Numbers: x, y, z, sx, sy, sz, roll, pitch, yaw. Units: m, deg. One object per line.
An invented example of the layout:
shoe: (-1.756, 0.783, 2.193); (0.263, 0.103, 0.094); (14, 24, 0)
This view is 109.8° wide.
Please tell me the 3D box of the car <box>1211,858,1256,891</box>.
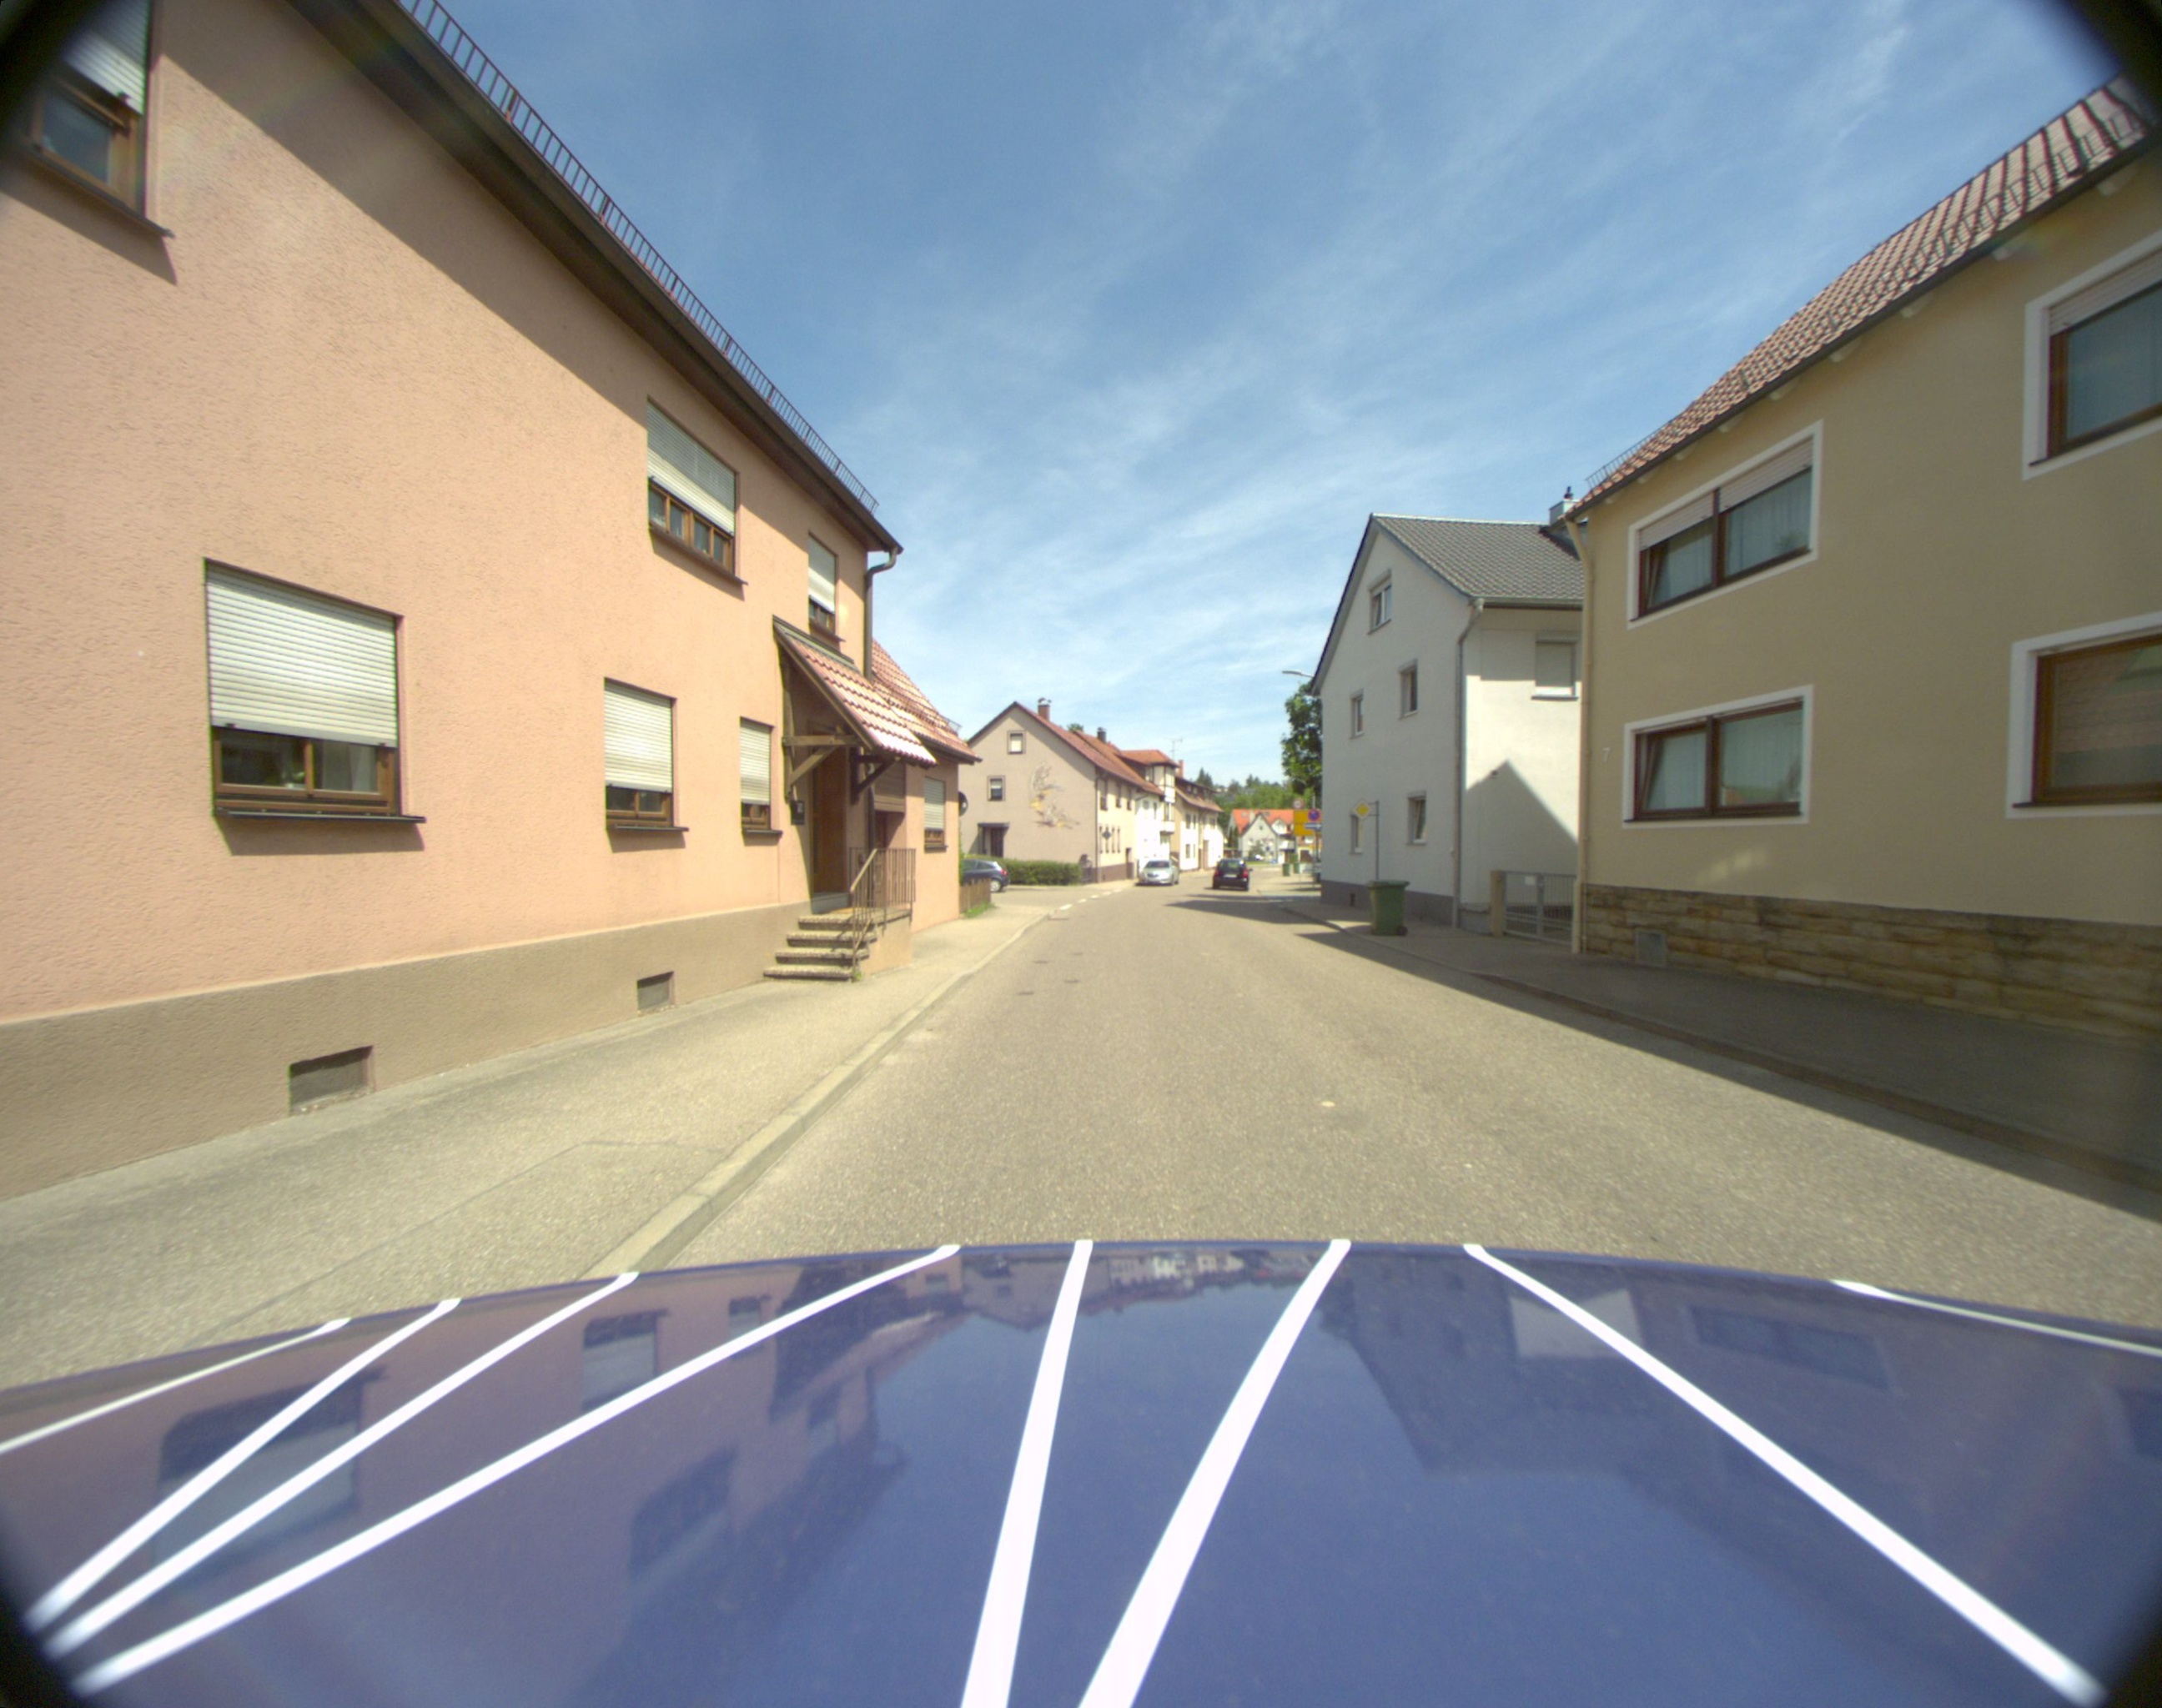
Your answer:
car: (7.715, 0.991, 38.257); (1.801, 1.546, 4.076); (1, 0, 17)

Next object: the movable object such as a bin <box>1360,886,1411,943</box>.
movable object such as a bin: (5.898, 1.168, 14.735); (0.755, 1.054, 0.680); (0, 0, 5)

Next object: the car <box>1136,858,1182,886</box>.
car: (4.397, 0.988, 42.352); (1.788, 1.433, 4.342); (-1, 0, 16)

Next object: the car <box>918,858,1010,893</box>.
car: (-5.078, 0.930, 33.411); (3.814, 1.479, 1.889); (0, 1, -3)

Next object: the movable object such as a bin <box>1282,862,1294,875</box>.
movable object such as a bin: (16.249, 1.139, 59.631); (0.826, 1.071, 0.819); (-1, 0, 19)

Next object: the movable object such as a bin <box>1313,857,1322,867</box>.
movable object such as a bin: (26.570, 0.879, 85.327); (0.809, 1.039, 0.828); (-1, 0, 28)

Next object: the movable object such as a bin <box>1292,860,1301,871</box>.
movable object such as a bin: (19.869, 1.067, 69.986); (0.792, 1.051, 0.651); (0, 0, 15)
